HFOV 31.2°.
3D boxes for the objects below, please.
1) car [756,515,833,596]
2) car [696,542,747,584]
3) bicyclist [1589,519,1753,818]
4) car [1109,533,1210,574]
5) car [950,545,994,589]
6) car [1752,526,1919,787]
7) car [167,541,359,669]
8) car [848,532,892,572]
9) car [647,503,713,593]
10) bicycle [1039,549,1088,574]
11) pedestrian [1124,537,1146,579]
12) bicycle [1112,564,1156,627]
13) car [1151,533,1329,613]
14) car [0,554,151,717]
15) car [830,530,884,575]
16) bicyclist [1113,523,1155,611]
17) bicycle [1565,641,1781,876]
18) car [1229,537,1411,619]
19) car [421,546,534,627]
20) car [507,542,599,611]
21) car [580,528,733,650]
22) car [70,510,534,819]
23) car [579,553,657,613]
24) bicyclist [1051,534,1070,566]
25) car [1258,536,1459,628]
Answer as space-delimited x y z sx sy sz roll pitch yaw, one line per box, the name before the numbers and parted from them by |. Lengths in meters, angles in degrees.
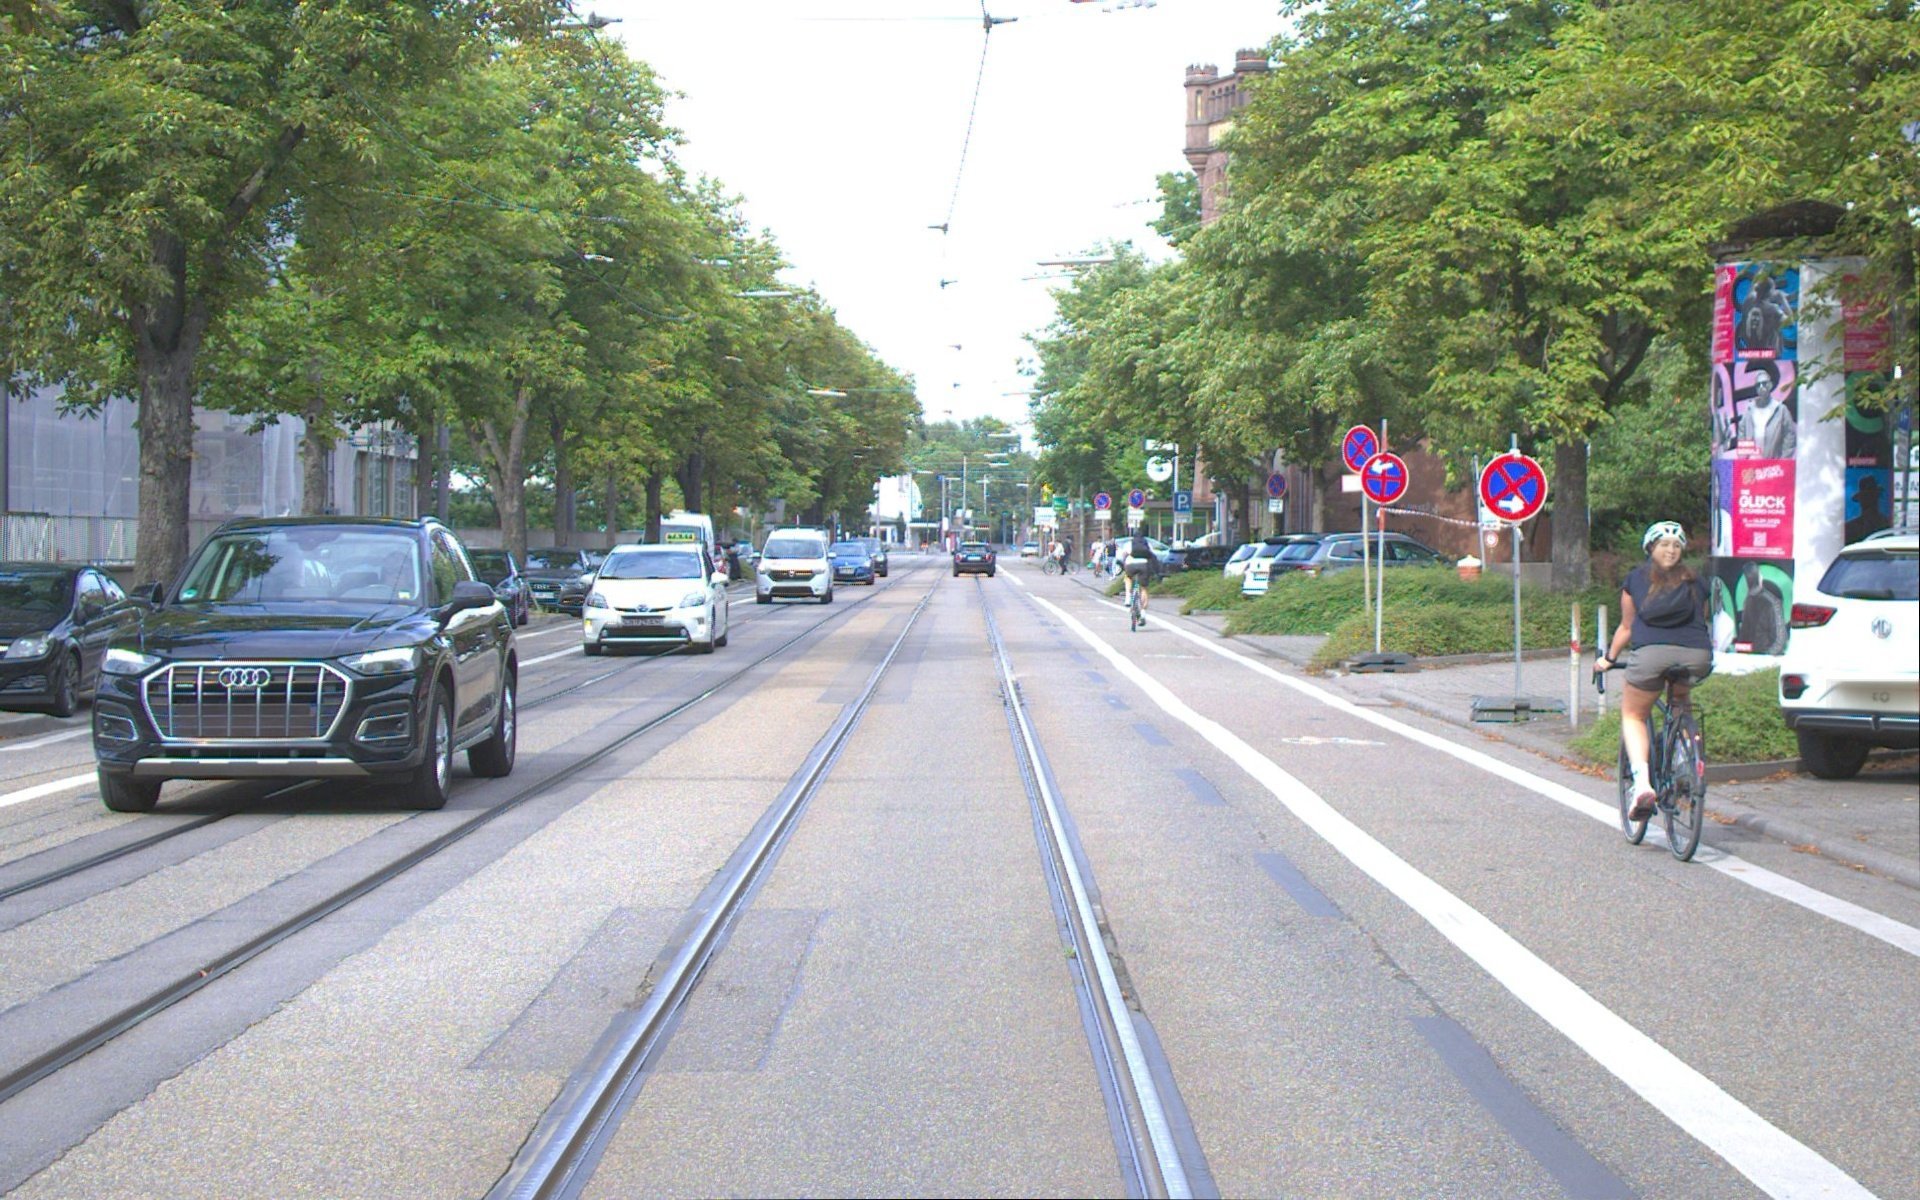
car | -3.932 -1.081 82.330 1.732 1.878 4.379 1 1 -1
car | -8.245 -1.302 118.976 1.590 1.398 3.963 1 1 -2
bicyclist | 3.544 0.326 17.190 0.592 1.454 0.875 1 1 -2
car | 8.376 -1.972 144.753 3.986 1.687 2.000 1 1 -5
car | 0.489 -1.414 145.985 1.795 1.817 4.679 1 1 -1
car | 6.917 0.337 22.556 1.681 1.597 3.637 1 1 45
car | -8.646 0.027 42.918 1.635 1.491 3.963 1 1 -1
car | -3.728 -2.013 143.020 1.732 1.623 4.378 -1 1 -1
car | -8.647 -1.623 106.482 1.720 2.695 5.471 1 1 -2
bicycle | 5.041 -1.868 167.013 2.275 1.185 0.768 1 1 8
pedestrian | 7.352 -1.768 144.389 0.748 1.783 0.730 1 0 15
bicycle | 2.979 -0.091 58.857 0.663 1.040 1.841 1 1 1
car | 5.765 -0.555 70.541 1.681 1.597 3.637 1 1 45
car | -8.801 0.286 32.261 1.590 1.398 3.963 1 1 -2
car | -3.550 -1.665 119.107 1.732 1.491 4.378 0 1 0
bicyclist | 2.978 -0.568 58.794 0.659 1.491 0.929 1 1 1
bicycle | 3.535 0.758 17.197 0.592 1.040 1.978 1 1 -2
car | 7.174 -0.438 68.394 1.681 1.597 3.637 1 1 45
car | -8.731 -0.272 62.431 1.590 1.398 3.963 1 1 -2
car | -8.576 -0.521 72.728 1.590 1.398 3.963 1 1 -2
car | -4.157 -0.194 47.612 1.732 1.607 4.334 0 1 0
car | -3.737 0.294 20.291 1.847 1.607 4.334 1 1 1
car | -8.228 -0.427 82.950 1.590 1.398 3.963 1 1 -2
bicyclist | 4.868 -2.434 167.024 0.847 1.499 0.768 1 1 7
car | 7.152 -0.318 61.597 1.681 1.597 3.637 1 1 45
